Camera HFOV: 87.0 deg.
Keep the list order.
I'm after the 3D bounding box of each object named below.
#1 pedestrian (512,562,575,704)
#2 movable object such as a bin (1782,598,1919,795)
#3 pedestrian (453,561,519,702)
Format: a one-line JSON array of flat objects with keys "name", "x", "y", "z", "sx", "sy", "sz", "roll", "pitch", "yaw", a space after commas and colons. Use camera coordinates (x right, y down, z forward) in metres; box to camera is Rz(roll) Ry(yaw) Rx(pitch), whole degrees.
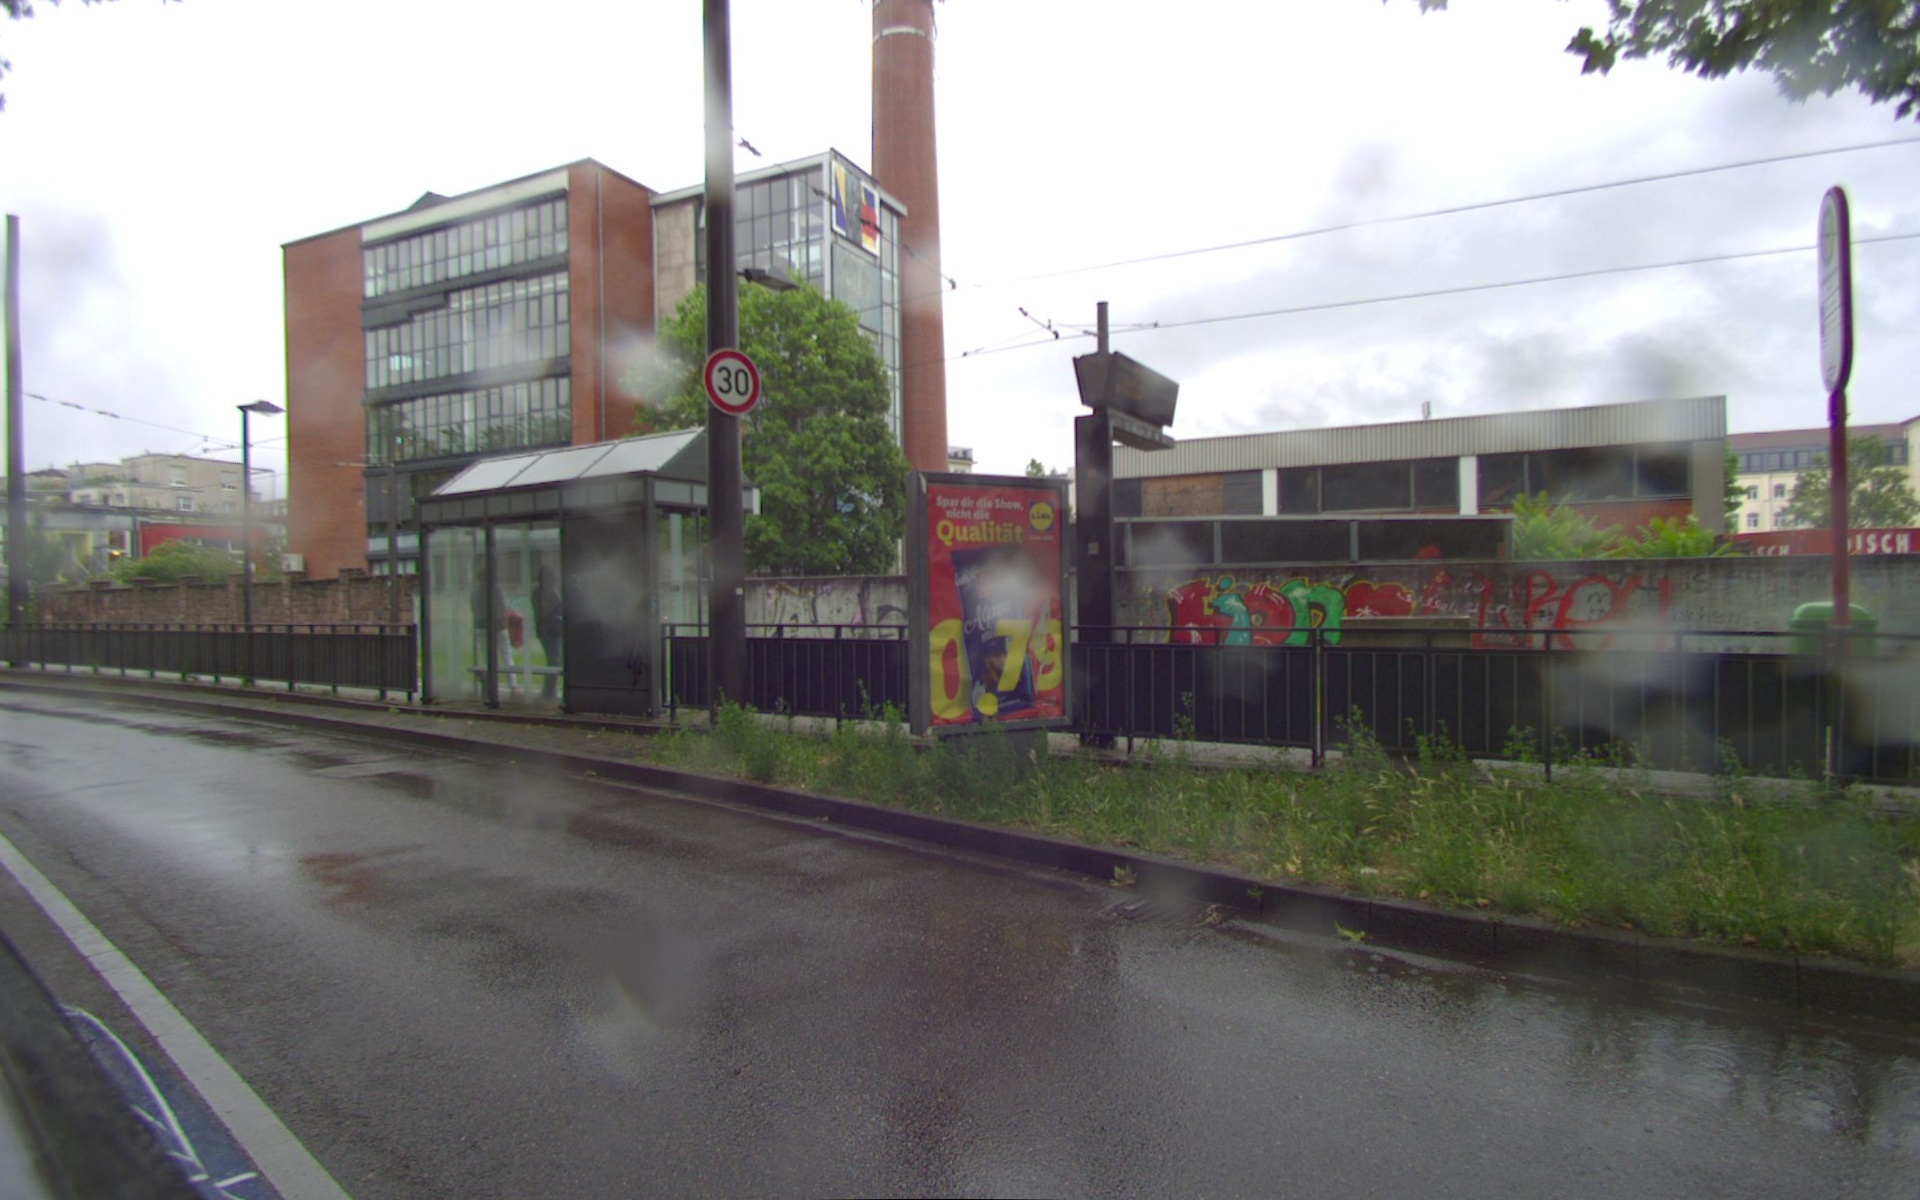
[{"name": "pedestrian", "x": -5.230, "y": 0.409, "z": 12.738, "sx": 0.560, "sy": 1.744, "sz": 0.583, "roll": 0, "pitch": -2, "yaw": -3}, {"name": "movable object such as a bin", "x": 5.248, "y": 0.546, "z": 5.948, "sx": 0.528, "sy": 1.098, "sz": 0.414, "roll": -1, "pitch": -2, "yaw": 25}, {"name": "pedestrian", "x": -6.028, "y": 0.400, "z": 12.883, "sx": 0.560, "sy": 1.744, "sz": 0.583, "roll": 0, "pitch": -2, "yaw": -1}]
